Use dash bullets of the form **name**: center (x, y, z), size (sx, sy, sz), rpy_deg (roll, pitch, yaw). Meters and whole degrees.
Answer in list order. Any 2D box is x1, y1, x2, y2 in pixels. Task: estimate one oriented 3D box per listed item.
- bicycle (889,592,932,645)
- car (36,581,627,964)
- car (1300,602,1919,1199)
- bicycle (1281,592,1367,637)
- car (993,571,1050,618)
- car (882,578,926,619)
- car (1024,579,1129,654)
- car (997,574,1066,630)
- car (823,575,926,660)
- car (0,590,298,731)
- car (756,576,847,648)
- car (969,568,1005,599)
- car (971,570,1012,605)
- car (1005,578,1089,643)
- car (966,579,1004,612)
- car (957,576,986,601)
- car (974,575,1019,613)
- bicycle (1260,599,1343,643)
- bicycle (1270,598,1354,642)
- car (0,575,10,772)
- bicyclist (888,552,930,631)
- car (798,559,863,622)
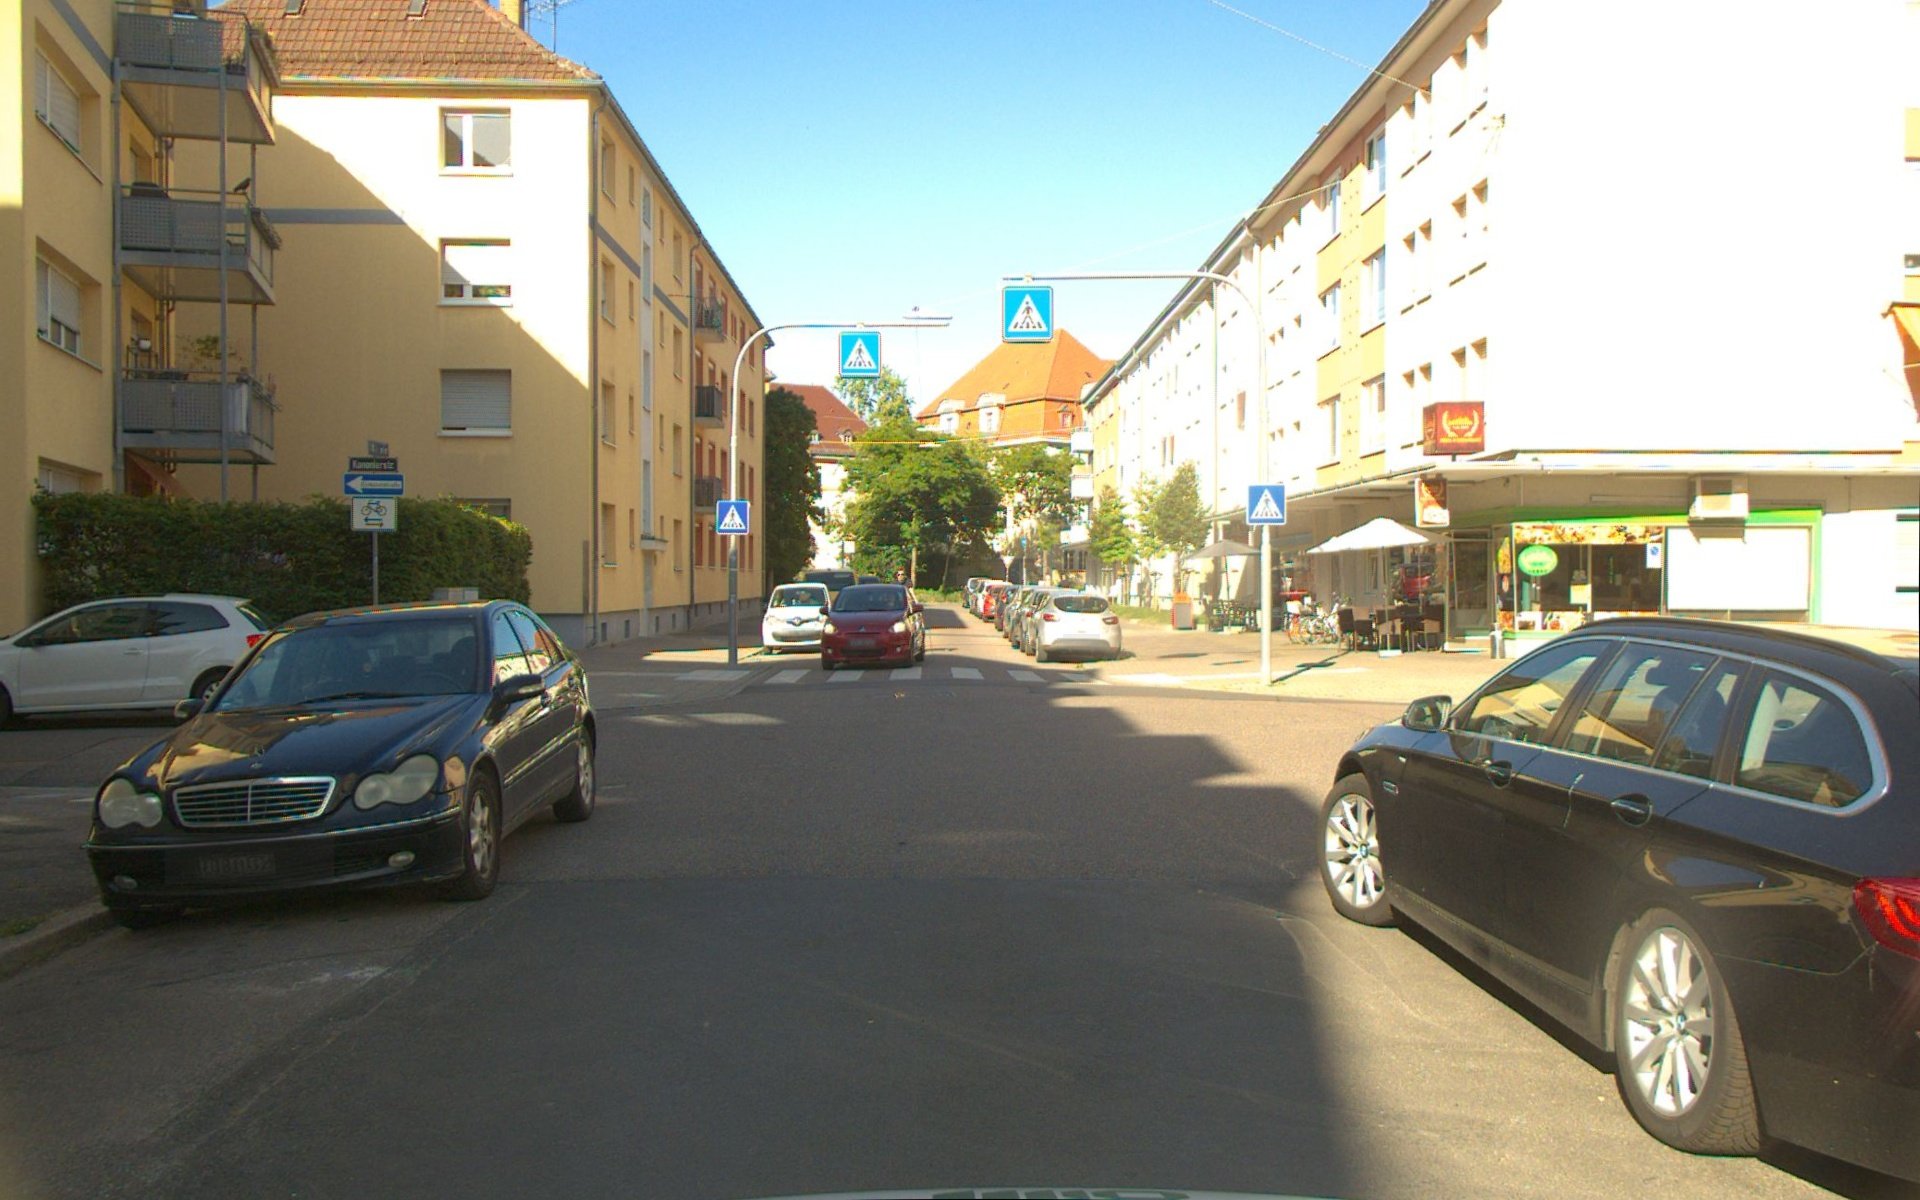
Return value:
- **bicycle**: center (-1.060, 0.380, 35.464), size (0.762, 1.088, 1.790), rpy_deg (0, 1, 3)
- **car**: center (-3.022, 0.701, 9.003), size (1.670, 1.440, 4.371), rpy_deg (-4, 0, -3)
- **car**: center (2.741, 0.799, 5.726), size (1.817, 1.550, 4.773), rpy_deg (1, 0, -4)
- **bicycle**: center (8.200, 0.320, 37.249), size (1.774, 0.984, 0.672), rpy_deg (0, 1, -12)
- **car**: center (1.973, -0.193, 54.000), size (1.605, 1.466, 3.417), rpy_deg (0, 1, -2)
- **car**: center (-2.075, -0.083, 60.973), size (1.605, 1.466, 3.417), rpy_deg (0, 1, -2)
- **car**: center (2.354, 0.304, 34.270), size (1.808, 1.466, 3.417), rpy_deg (0, 1, -3)
- **car**: center (1.900, 0.022, 44.889), size (1.605, 1.466, 3.417), rpy_deg (0, 1, -2)
- **car**: center (-1.492, 0.279, 30.041), size (1.662, 1.466, 3.419), rpy_deg (0, 1, 0)
- **car**: center (-9.698, 0.645, 18.810), size (3.919, 1.505, 1.586), rpy_deg (0, 1, -19)
- **car**: center (-3.638, 0.227, 38.513), size (1.755, 1.506, 4.098), rpy_deg (-1, 1, -1)
- **car**: center (1.287, -0.828, 80.928), size (1.604, 1.466, 3.418), rpy_deg (0, 1, -2)
- **car**: center (1.337, -0.561, 71.690), size (1.604, 1.466, 3.418), rpy_deg (0, 1, -2)
- **car**: center (2.015, 0.224, 39.030), size (1.656, 1.466, 3.417), rpy_deg (0, 1, -2)
- **car**: center (1.117, -0.221, 76.308), size (1.604, 1.466, 3.418), rpy_deg (0, 1, -2)
- **car**: center (0.666, -0.691, 100.124), size (1.604, 1.466, 3.418), rpy_deg (0, 1, -2)
- **car**: center (1.439, -0.250, 65.556), size (1.604, 1.466, 3.418), rpy_deg (0, 1, -2)
- **bicycle**: center (7.940, 0.477, 38.501), size (1.774, 0.984, 0.672), rpy_deg (0, 1, -12)
- **bicycle**: center (8.066, 0.447, 37.875), size (1.774, 0.984, 0.672), rpy_deg (0, 1, -12)
- **car**: center (-9.923, 0.632, 12.572), size (4.397, 1.643, 1.769), rpy_deg (0, 1, -19)
- **bicyclist**: center (-1.083, -0.193, 35.418), size (0.769, 1.649, 0.956), rpy_deg (-2, 1, 3)
- **car**: center (-3.830, -0.307, 49.505), size (1.663, 1.810, 4.098), rpy_deg (0, 1, -1)
